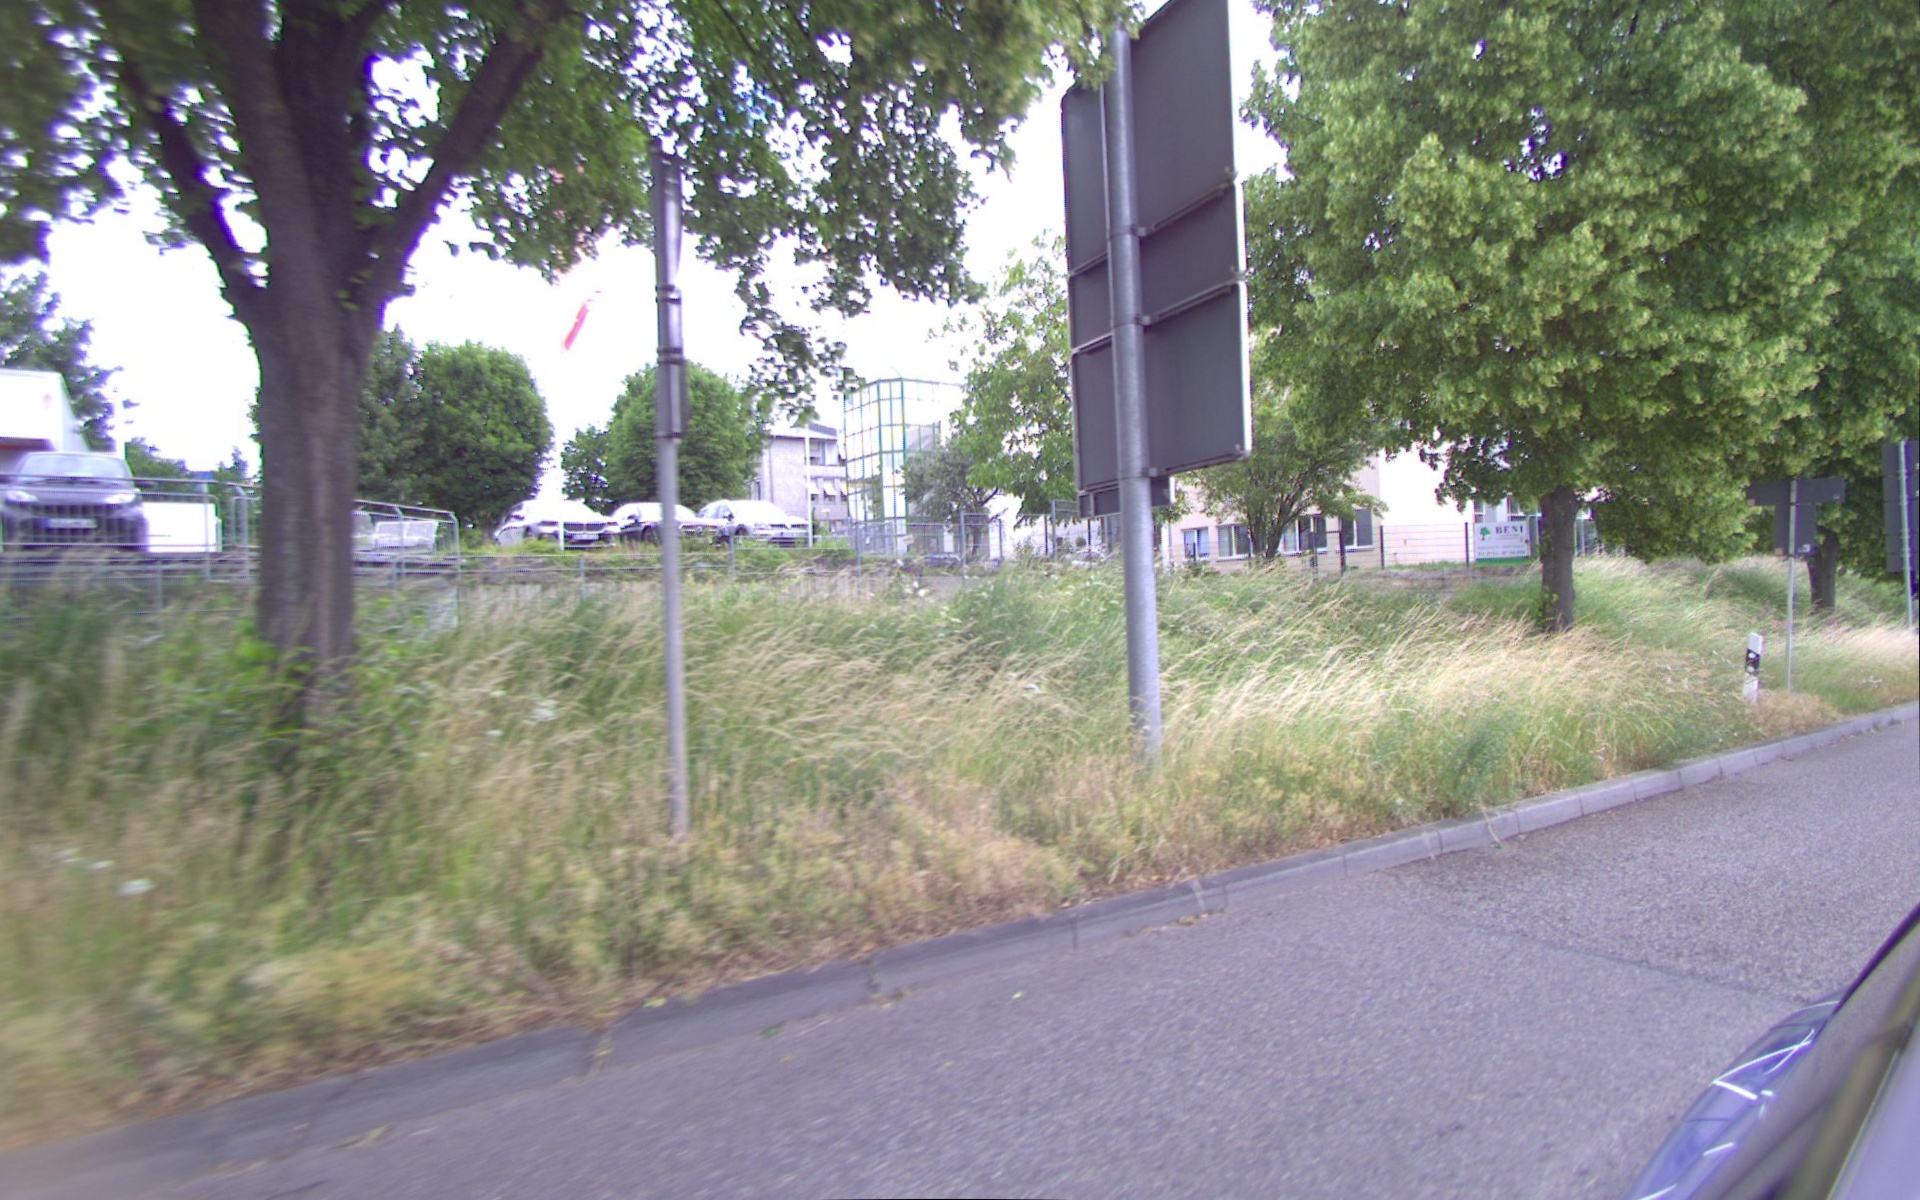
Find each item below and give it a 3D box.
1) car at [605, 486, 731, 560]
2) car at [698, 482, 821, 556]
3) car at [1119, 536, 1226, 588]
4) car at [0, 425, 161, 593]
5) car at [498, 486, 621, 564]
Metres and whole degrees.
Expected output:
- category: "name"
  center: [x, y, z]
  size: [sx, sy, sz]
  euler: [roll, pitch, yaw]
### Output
- category: "car"
  center: [-7.052, -1.764, 24.189]
  size: [1.722, 1.385, 3.938]
  euler: [0, -1, -35]
- category: "car"
  center: [-5.294, -2.031, 26.379]
  size: [1.722, 1.502, 3.938]
  euler: [0, -1, -35]
- category: "car"
  center: [6.901, -1.194, 33.136]
  size: [1.546, 1.529, 3.371]
  euler: [0, -1, -32]
- category: "car"
  center: [-12.547, -1.142, 14.399]
  size: [1.612, 1.984, 3.766]
  euler: [0, -2, -35]
- category: "car"
  center: [-9.020, -1.599, 22.634]
  size: [1.722, 1.381, 3.766]
  euler: [0, -1, -35]
